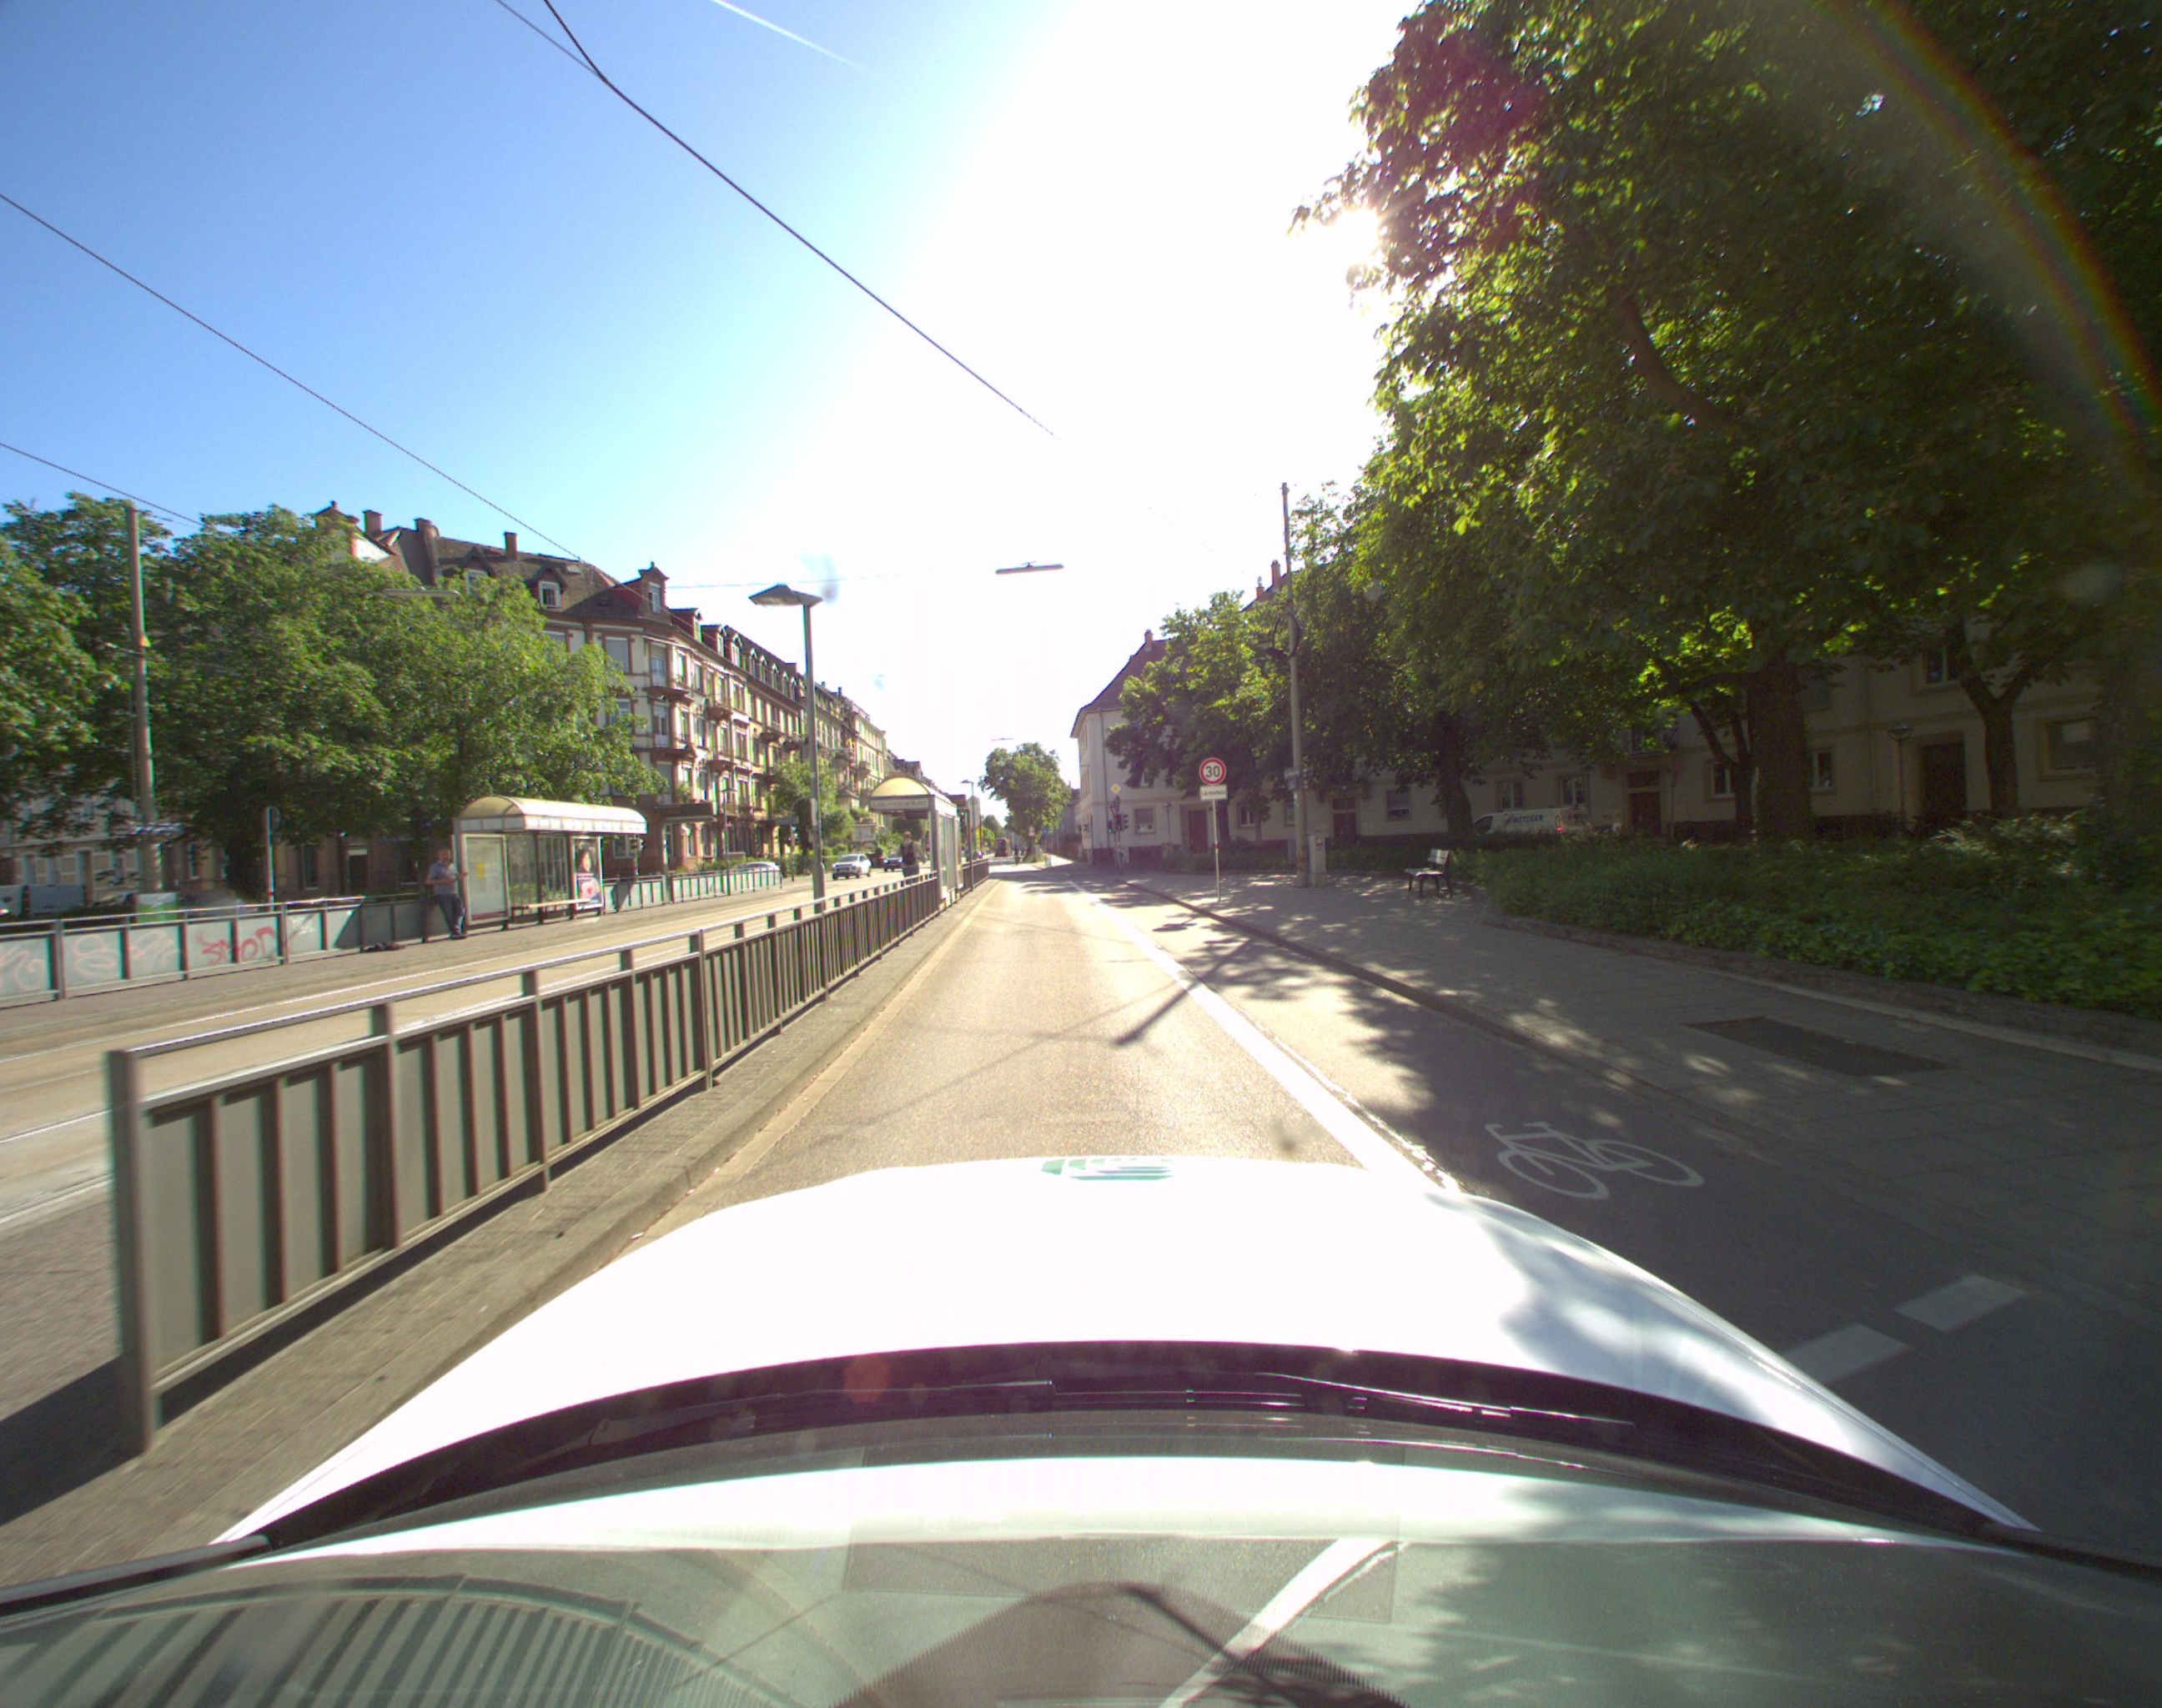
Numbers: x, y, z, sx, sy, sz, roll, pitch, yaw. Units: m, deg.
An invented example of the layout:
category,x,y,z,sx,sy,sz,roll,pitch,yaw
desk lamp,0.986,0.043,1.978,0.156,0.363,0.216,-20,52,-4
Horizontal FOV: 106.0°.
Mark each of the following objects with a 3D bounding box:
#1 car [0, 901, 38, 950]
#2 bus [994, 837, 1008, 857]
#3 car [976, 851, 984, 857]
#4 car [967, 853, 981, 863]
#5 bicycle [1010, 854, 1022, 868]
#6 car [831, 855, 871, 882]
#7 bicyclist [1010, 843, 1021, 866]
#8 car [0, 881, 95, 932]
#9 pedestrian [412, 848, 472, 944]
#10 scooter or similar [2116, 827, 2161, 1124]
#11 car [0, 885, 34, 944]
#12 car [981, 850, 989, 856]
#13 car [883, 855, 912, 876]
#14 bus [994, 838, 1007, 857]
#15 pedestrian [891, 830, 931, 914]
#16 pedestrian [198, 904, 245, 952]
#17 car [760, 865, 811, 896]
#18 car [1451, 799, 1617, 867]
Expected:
category,x,y,z,sx,sy,sz,roll,pitch,yaw
car,-34.144,2.322,24.518,1.758,1.431,3.965,-4,2,-27
bus,-14.766,-1.196,149.810,2.382,3.496,7.369,-2,0,-6
car,-26.243,-0.054,211.766,1.990,1.596,3.994,-2,0,-4
car,-18.142,0.734,138.396,1.990,1.596,3.994,-2,0,-4
bicycle,-5.385,0.590,67.564,0.840,1.156,2.536,-2,0,-3
car,-14.963,0.925,53.205,1.773,1.618,3.993,-2,0,-5
bicyclist,-5.399,0.047,67.554,0.816,1.811,1.058,-2,0,-4
car,-45.102,2.247,34.889,4.971,2.013,2.010,-2,0,19
pedestrian,-12.434,0.806,15.862,0.605,1.795,0.578,-3,0,-5
scooter or similar,5.109,0.524,3.070,0.674,1.310,1.327,-2,0,-2
car,-39.947,2.205,28.978,4.535,2.013,2.010,-2,0,21
car,-27.508,-0.170,233.624,1.990,1.596,3.994,-2,0,-4
car,-15.356,0.954,68.257,1.773,1.618,3.993,-2,0,-5
bus,-15.480,-1.159,157.152,2.382,3.496,7.369,-2,0,-6
pedestrian,-4.198,0.435,20.123,0.794,2.013,0.739,-2,0,-3
pedestrian,-23.337,1.989,22.124,0.608,1.201,0.575,-4,1,-21
car,-17.210,1.525,47.591,1.773,1.618,3.993,-2,0,-5
car,16.101,-0.683,29.292,2.128,2.208,4.905,-2,0,-24
